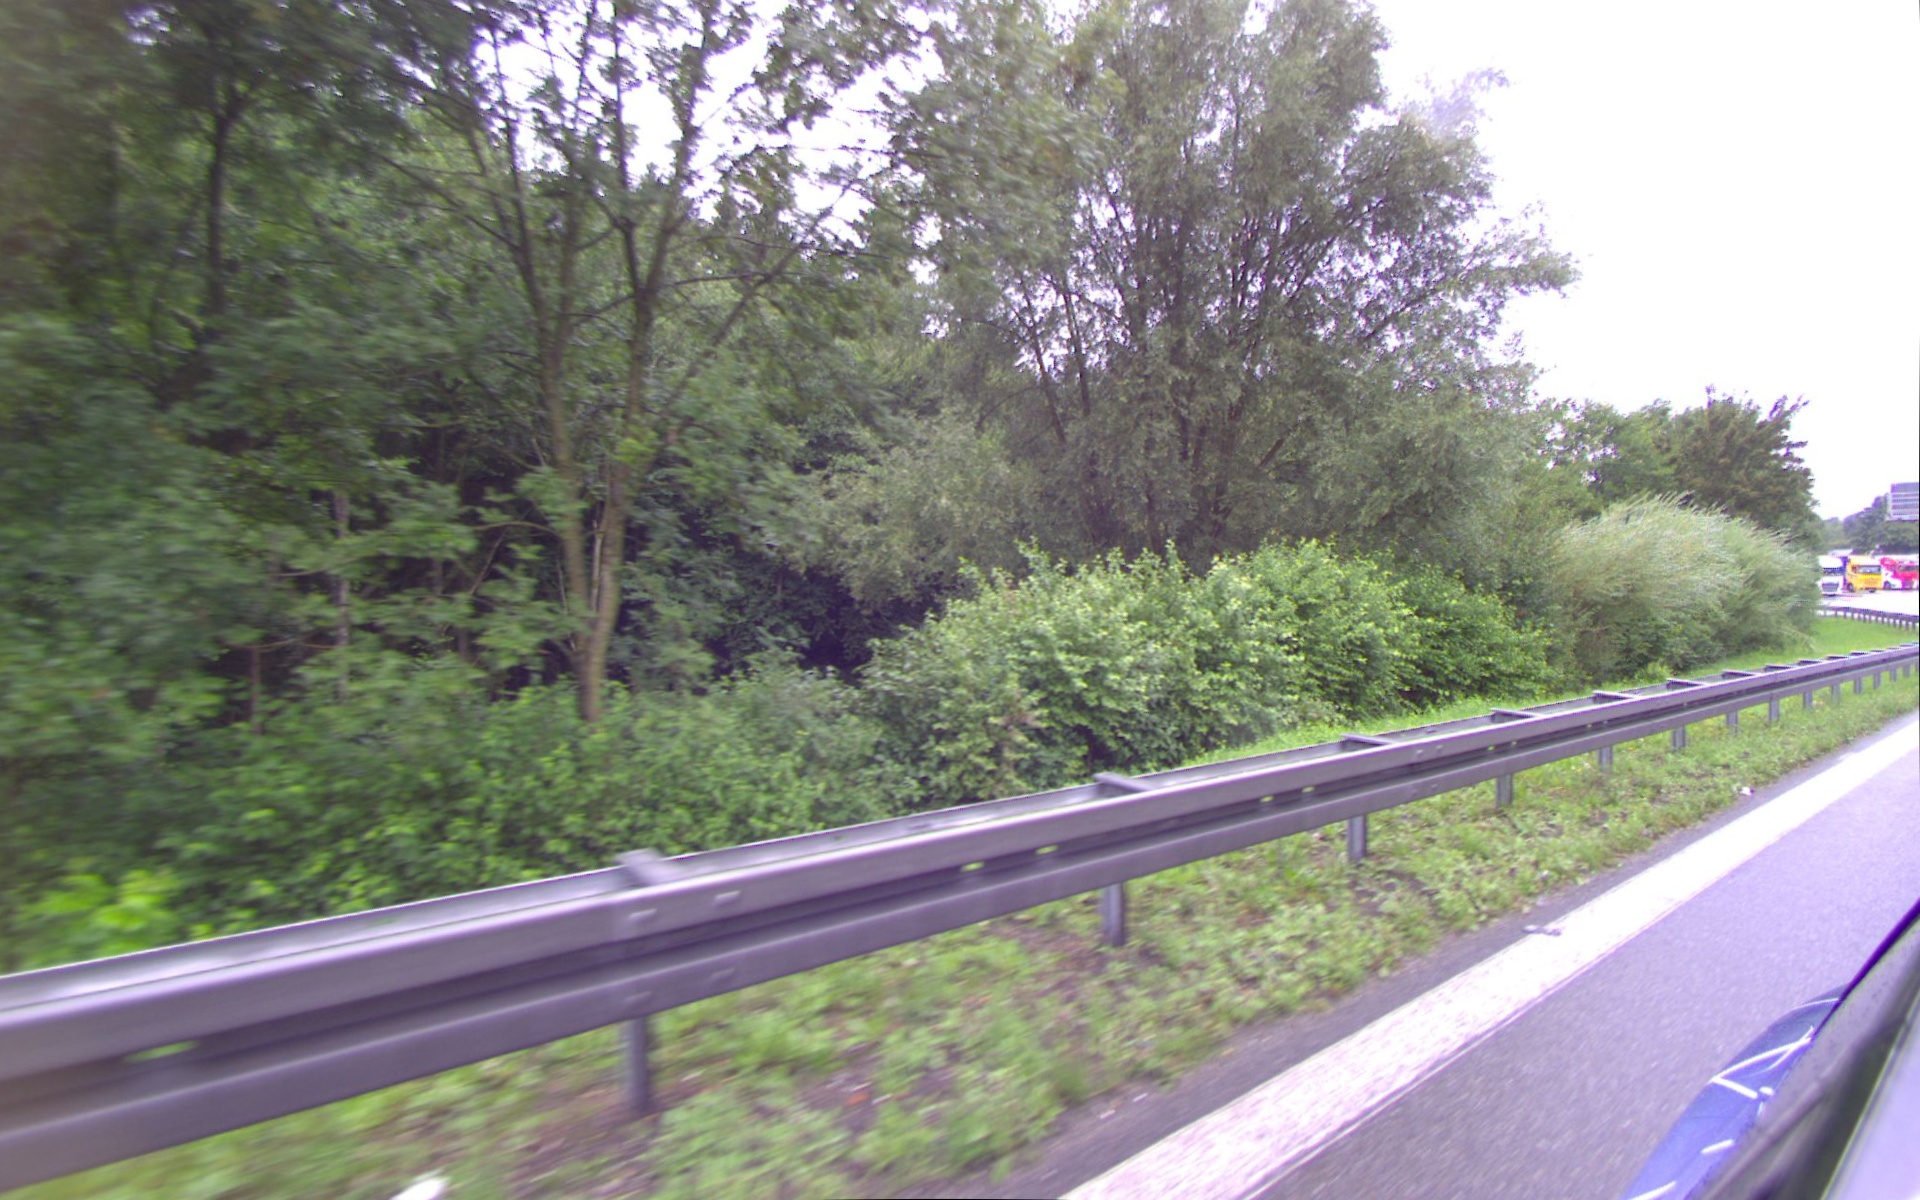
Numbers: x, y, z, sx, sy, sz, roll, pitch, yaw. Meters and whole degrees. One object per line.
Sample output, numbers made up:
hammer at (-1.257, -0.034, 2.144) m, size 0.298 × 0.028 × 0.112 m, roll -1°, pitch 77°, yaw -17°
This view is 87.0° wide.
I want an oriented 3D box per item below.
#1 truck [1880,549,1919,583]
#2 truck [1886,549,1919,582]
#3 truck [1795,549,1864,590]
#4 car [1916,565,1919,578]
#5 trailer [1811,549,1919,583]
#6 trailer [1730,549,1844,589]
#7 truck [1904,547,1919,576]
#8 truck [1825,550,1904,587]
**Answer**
truck at (113.582, -4.056, 120.813) m, size 3.190 × 3.967 × 5.014 m, roll 0°, pitch 2°, yaw 7°
truck at (117.548, -4.272, 123.806) m, size 2.849 × 3.967 × 6.547 m, roll 0°, pitch 2°, yaw 7°
truck at (87.962, -3.075, 102.504) m, size 2.784 × 3.961 × 5.399 m, roll -1°, pitch 1°, yaw 9°
car at (130.711, -3.837, 135.659) m, size 1.818 × 1.881 × 3.991 m, roll -1°, pitch 1°, yaw 9°
trailer at (114.388, -4.351, 127.502) m, size 3.190 × 3.967 × 14.810 m, roll 0°, pitch 2°, yaw 7°
trailer at (89.038, -3.411, 109.474) m, size 2.797 × 3.967 × 13.925 m, roll 0°, pitch 2°, yaw 9°
truck at (135.285, -5.312, 139.618) m, size 3.190 × 4.141 × 7.927 m, roll 0°, pitch 2°, yaw 7°
truck at (101.823, -3.617, 114.108) m, size 2.795 × 3.967 × 8.109 m, roll 0°, pitch 2°, yaw 11°
